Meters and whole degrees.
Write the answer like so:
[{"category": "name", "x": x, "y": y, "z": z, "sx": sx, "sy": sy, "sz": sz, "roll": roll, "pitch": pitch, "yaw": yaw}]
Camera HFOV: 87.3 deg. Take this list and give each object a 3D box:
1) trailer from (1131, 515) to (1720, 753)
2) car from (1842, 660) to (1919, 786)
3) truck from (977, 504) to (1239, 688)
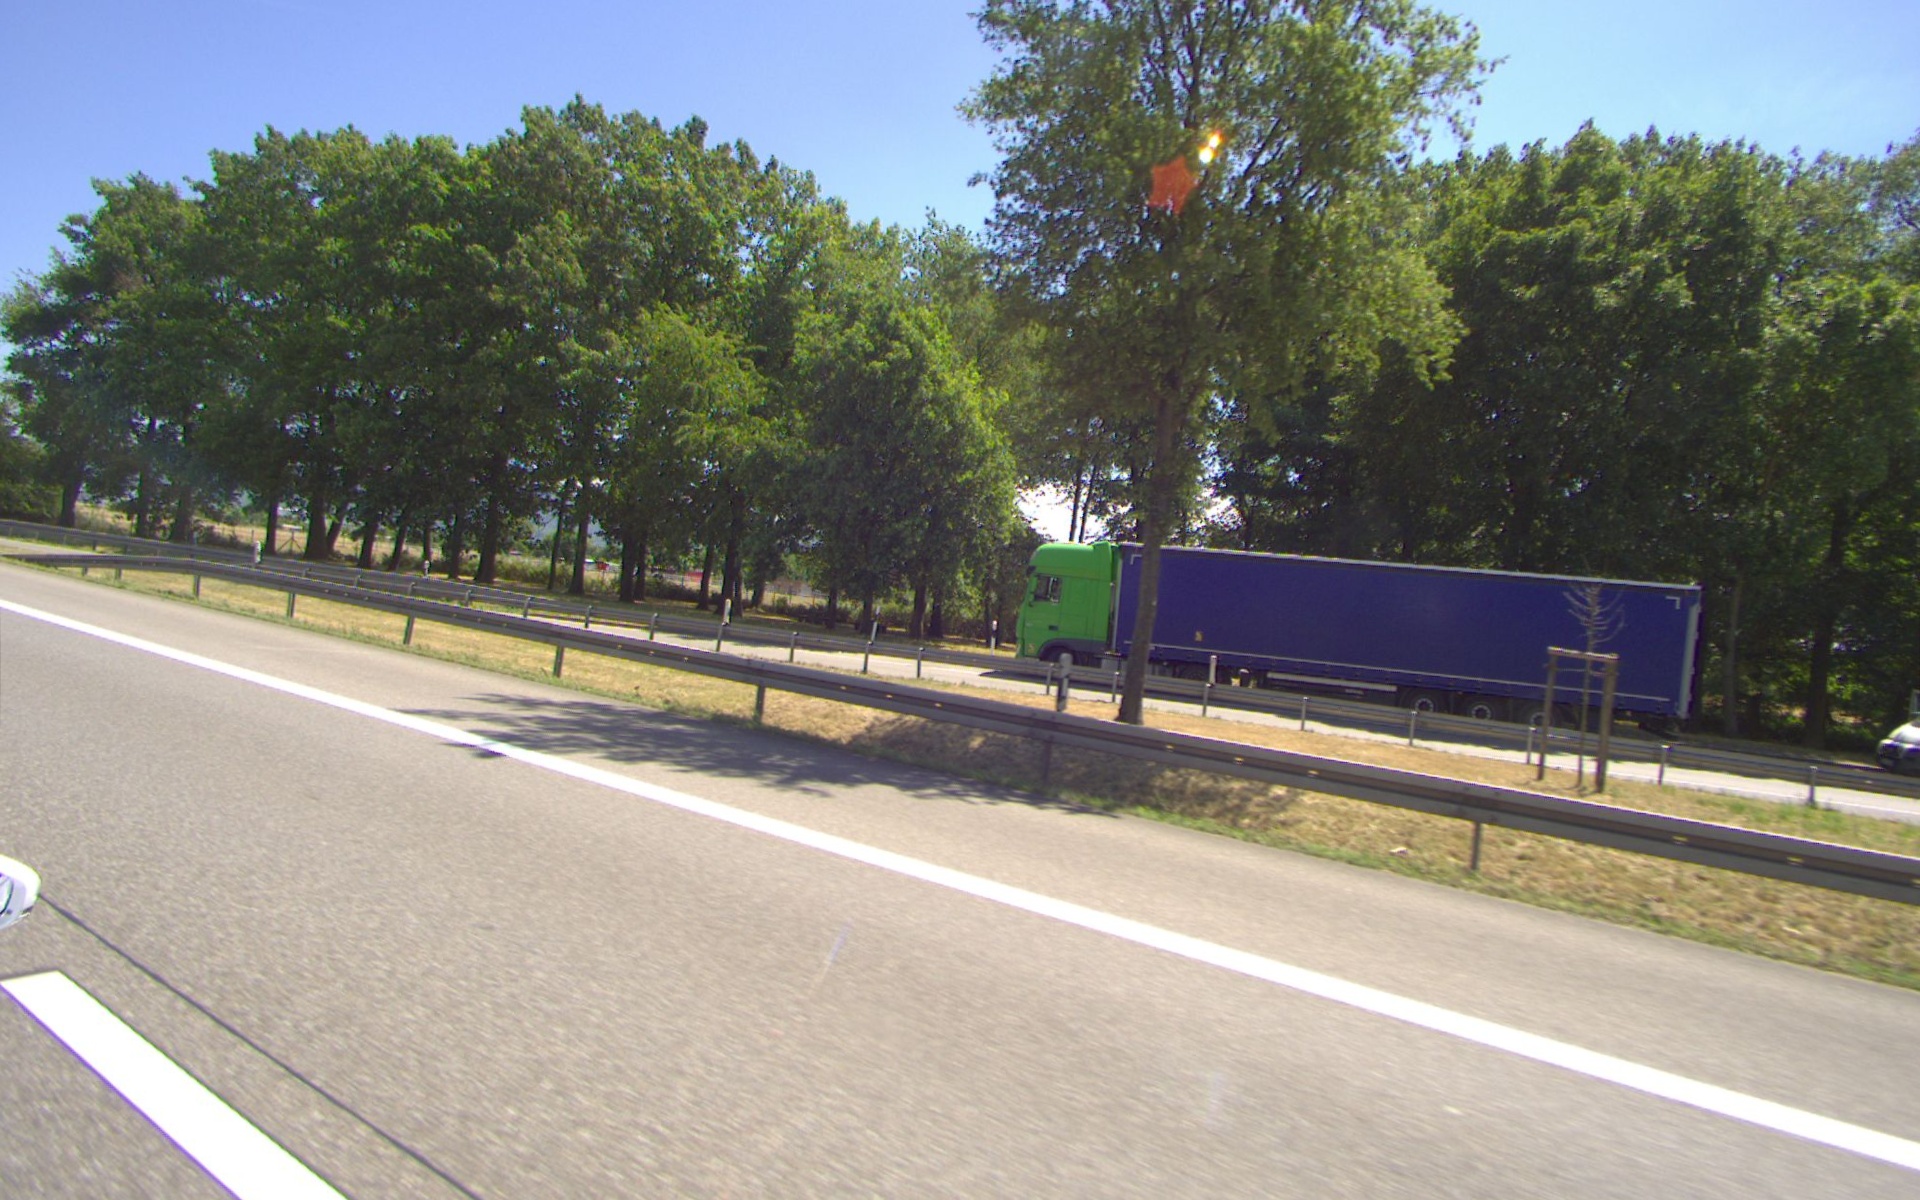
[{"category": "trailer", "x": 11.419, "y": 0.729, "z": 26.444, "sx": 12.899, "sy": 4.307, "sz": 3.397, "roll": 7, "pitch": -1, "yaw": 19}, {"category": "car", "x": 23.933, "y": 3.035, "z": 21.869, "sx": 6.526, "sy": 2.617, "sz": 2.312, "roll": 6, "pitch": 2, "yaw": 21}, {"category": "truck", "x": 4.330, "y": -0.076, "z": 28.904, "sx": 6.493, "sy": 4.307, "sz": 3.397, "roll": 7, "pitch": -1, "yaw": 19}]
